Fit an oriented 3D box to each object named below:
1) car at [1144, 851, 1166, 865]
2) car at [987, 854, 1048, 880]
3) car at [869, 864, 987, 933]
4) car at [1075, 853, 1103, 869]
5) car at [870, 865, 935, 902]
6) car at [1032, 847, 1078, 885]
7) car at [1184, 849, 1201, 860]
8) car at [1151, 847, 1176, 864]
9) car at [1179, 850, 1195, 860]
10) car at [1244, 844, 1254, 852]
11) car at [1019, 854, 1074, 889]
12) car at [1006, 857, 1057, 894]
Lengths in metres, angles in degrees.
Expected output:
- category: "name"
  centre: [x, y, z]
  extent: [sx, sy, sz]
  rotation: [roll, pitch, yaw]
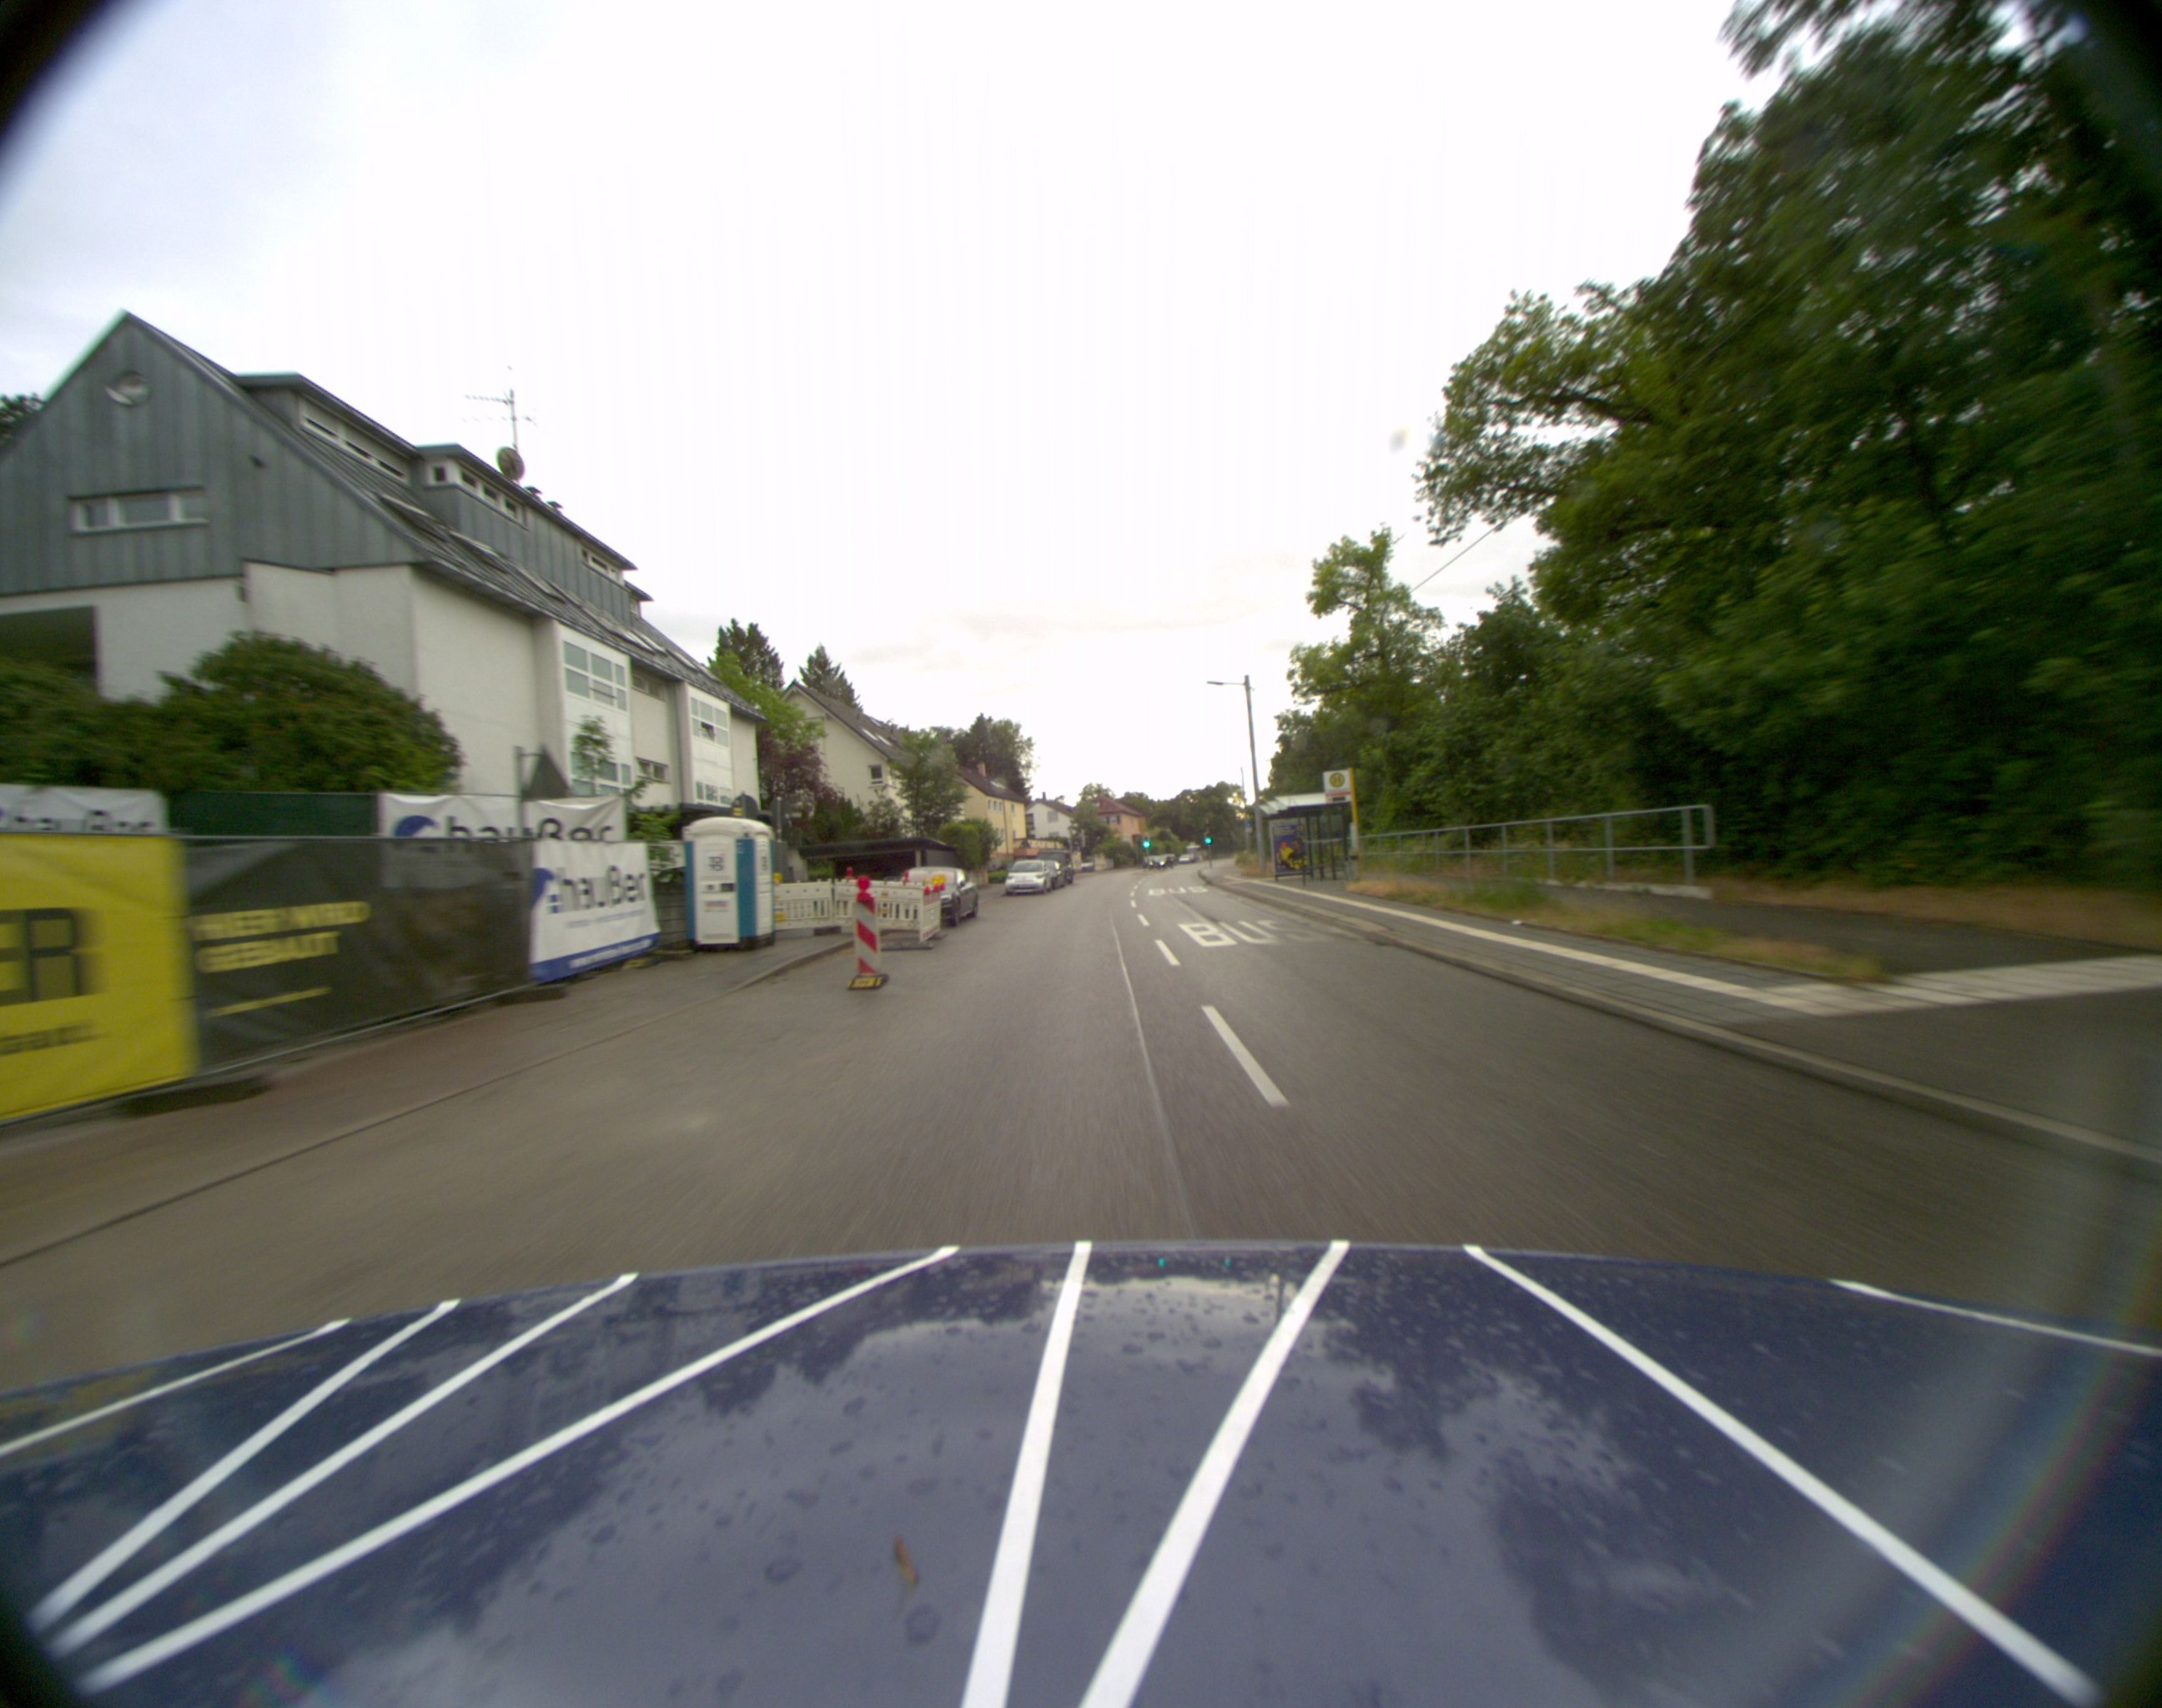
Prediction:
- category: "car"
  centre: [8.996, 0.437, 92.210]
  extent: [1.754, 1.435, 4.605]
  rotation: [-3, 1, 16]
- category: "car"
  centre: [-5.076, 1.015, 60.997]
  extent: [4.336, 1.586, 1.993]
  rotation: [-6, 0, 8]
- category: "car"
  centre: [-3.738, 1.031, 19.501]
  extent: [1.936, 1.414, 4.837]
  rotation: [-3, 0, 1]
- category: "car"
  centre: [0.960, 0.765, 87.944]
  extent: [1.934, 1.587, 4.346]
  rotation: [-5, 0, 17]
- category: "car"
  centre: [-8.129, 1.298, 34.907]
  extent: [1.738, 1.388, 4.001]
  rotation: [-5, 0, 3]
- category: "car"
  centre: [-1.393, 0.608, 43.385]
  extent: [1.998, 2.002, 4.958]
  rotation: [-1, 0, 5]
- category: "car"
  centre: [18.065, 0.074, 123.236]
  extent: [1.832, 1.538, 4.635]
  rotation: [-3, 1, 18]
- category: "car"
  centre: [9.010, 0.129, 82.630]
  extent: [1.996, 1.714, 4.004]
  rotation: [-3, 0, 14]
- category: "car"
  centre: [16.634, 0.163, 118.803]
  extent: [1.815, 1.390, 4.107]
  rotation: [-3, 1, 17]
- category: "car"
  centre: [35.135, -1.285, 158.950]
  extent: [1.746, 1.451, 4.419]
  rotation: [-3, 0, 17]
- category: "car"
  centre: [-1.673, 0.832, 38.316]
  extent: [1.935, 1.587, 4.396]
  rotation: [-1, 1, 8]
- category: "car"
  centre: [-2.139, 0.930, 33.775]
  extent: [1.676, 1.449, 3.387]
  rotation: [-3, 0, 5]
